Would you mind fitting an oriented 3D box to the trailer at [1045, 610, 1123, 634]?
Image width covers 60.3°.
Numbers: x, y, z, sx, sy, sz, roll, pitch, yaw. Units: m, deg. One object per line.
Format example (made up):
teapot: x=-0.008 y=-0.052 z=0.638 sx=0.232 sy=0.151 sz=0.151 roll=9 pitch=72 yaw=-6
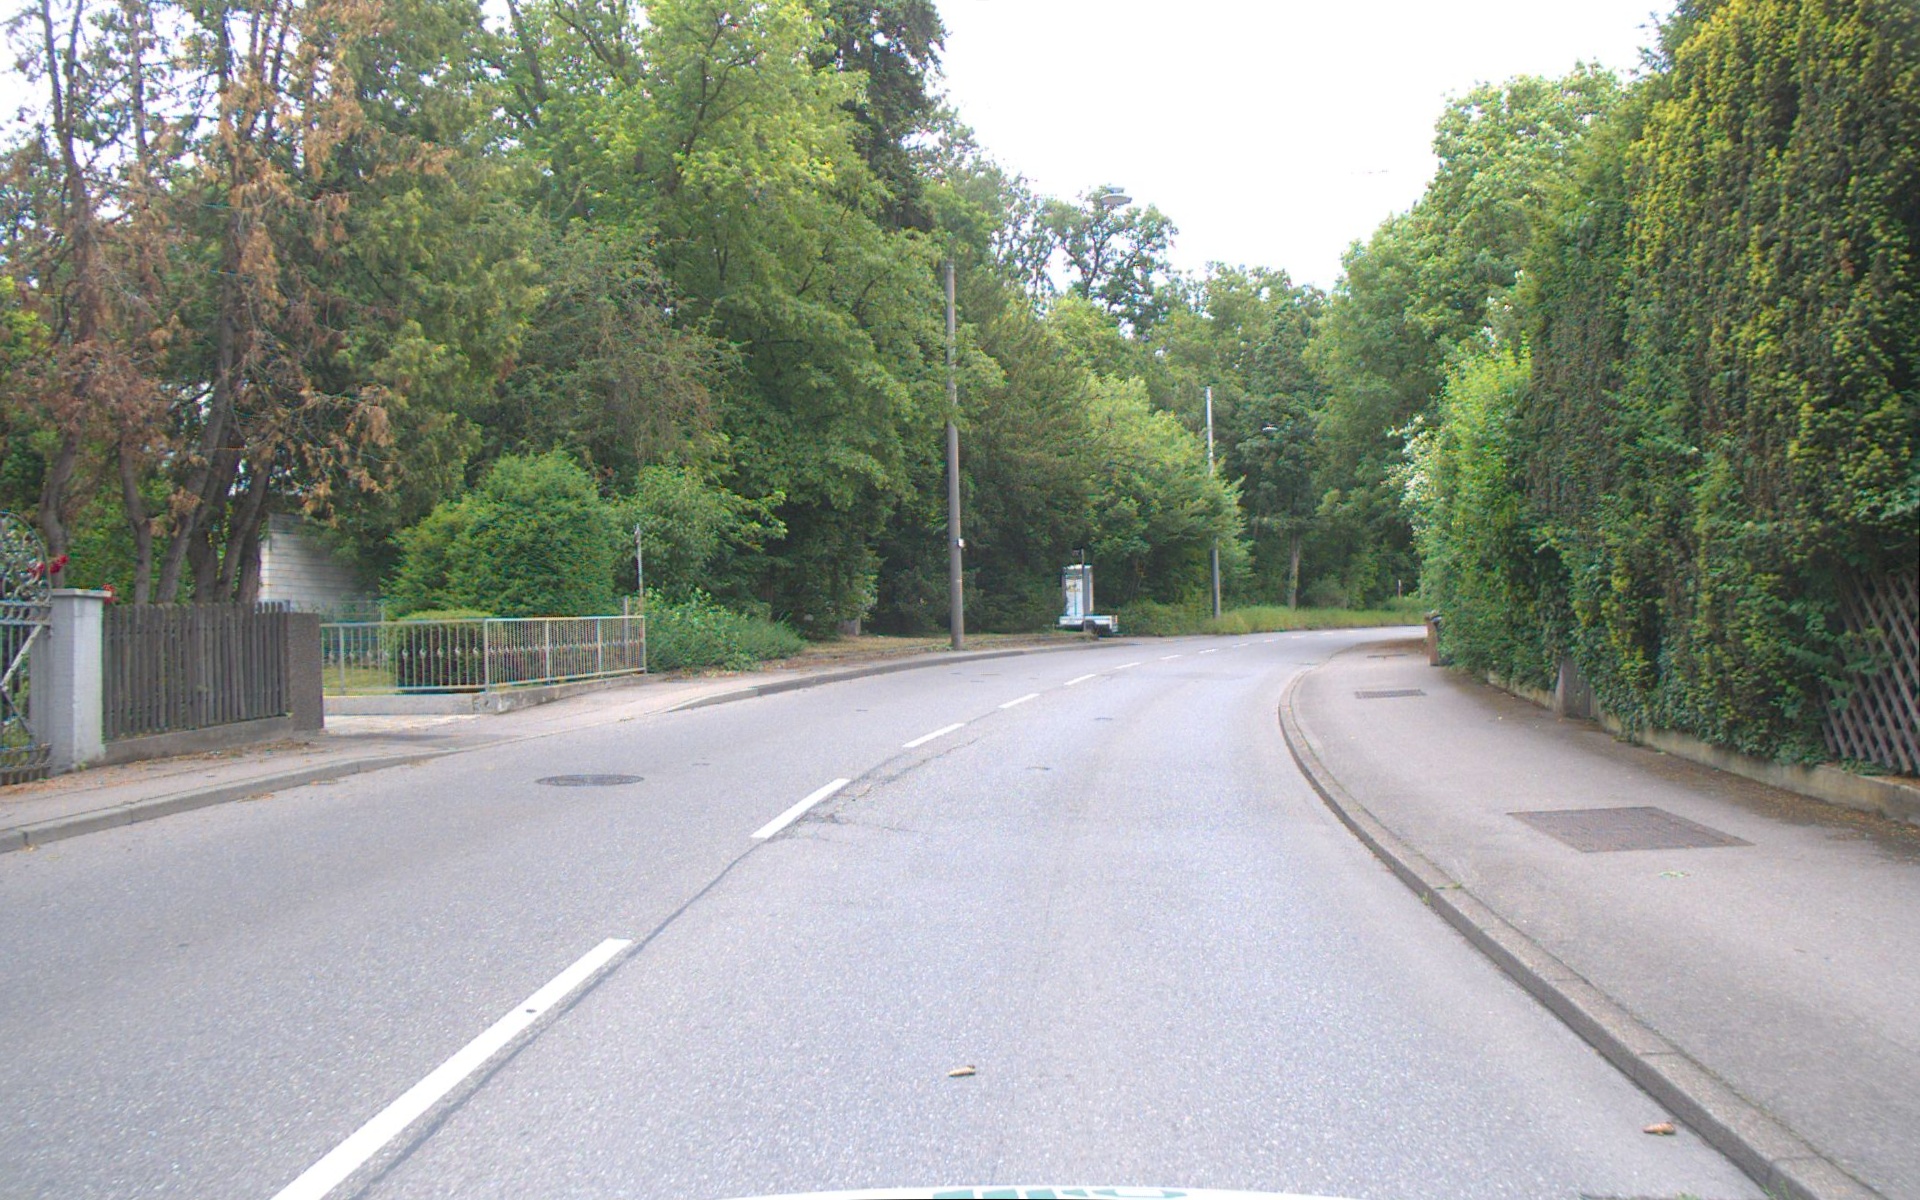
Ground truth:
trailer: x=4.837 y=0.866 z=64.180 sx=2.892 sy=0.843 sz=1.477 roll=-1 pitch=-1 yaw=9
